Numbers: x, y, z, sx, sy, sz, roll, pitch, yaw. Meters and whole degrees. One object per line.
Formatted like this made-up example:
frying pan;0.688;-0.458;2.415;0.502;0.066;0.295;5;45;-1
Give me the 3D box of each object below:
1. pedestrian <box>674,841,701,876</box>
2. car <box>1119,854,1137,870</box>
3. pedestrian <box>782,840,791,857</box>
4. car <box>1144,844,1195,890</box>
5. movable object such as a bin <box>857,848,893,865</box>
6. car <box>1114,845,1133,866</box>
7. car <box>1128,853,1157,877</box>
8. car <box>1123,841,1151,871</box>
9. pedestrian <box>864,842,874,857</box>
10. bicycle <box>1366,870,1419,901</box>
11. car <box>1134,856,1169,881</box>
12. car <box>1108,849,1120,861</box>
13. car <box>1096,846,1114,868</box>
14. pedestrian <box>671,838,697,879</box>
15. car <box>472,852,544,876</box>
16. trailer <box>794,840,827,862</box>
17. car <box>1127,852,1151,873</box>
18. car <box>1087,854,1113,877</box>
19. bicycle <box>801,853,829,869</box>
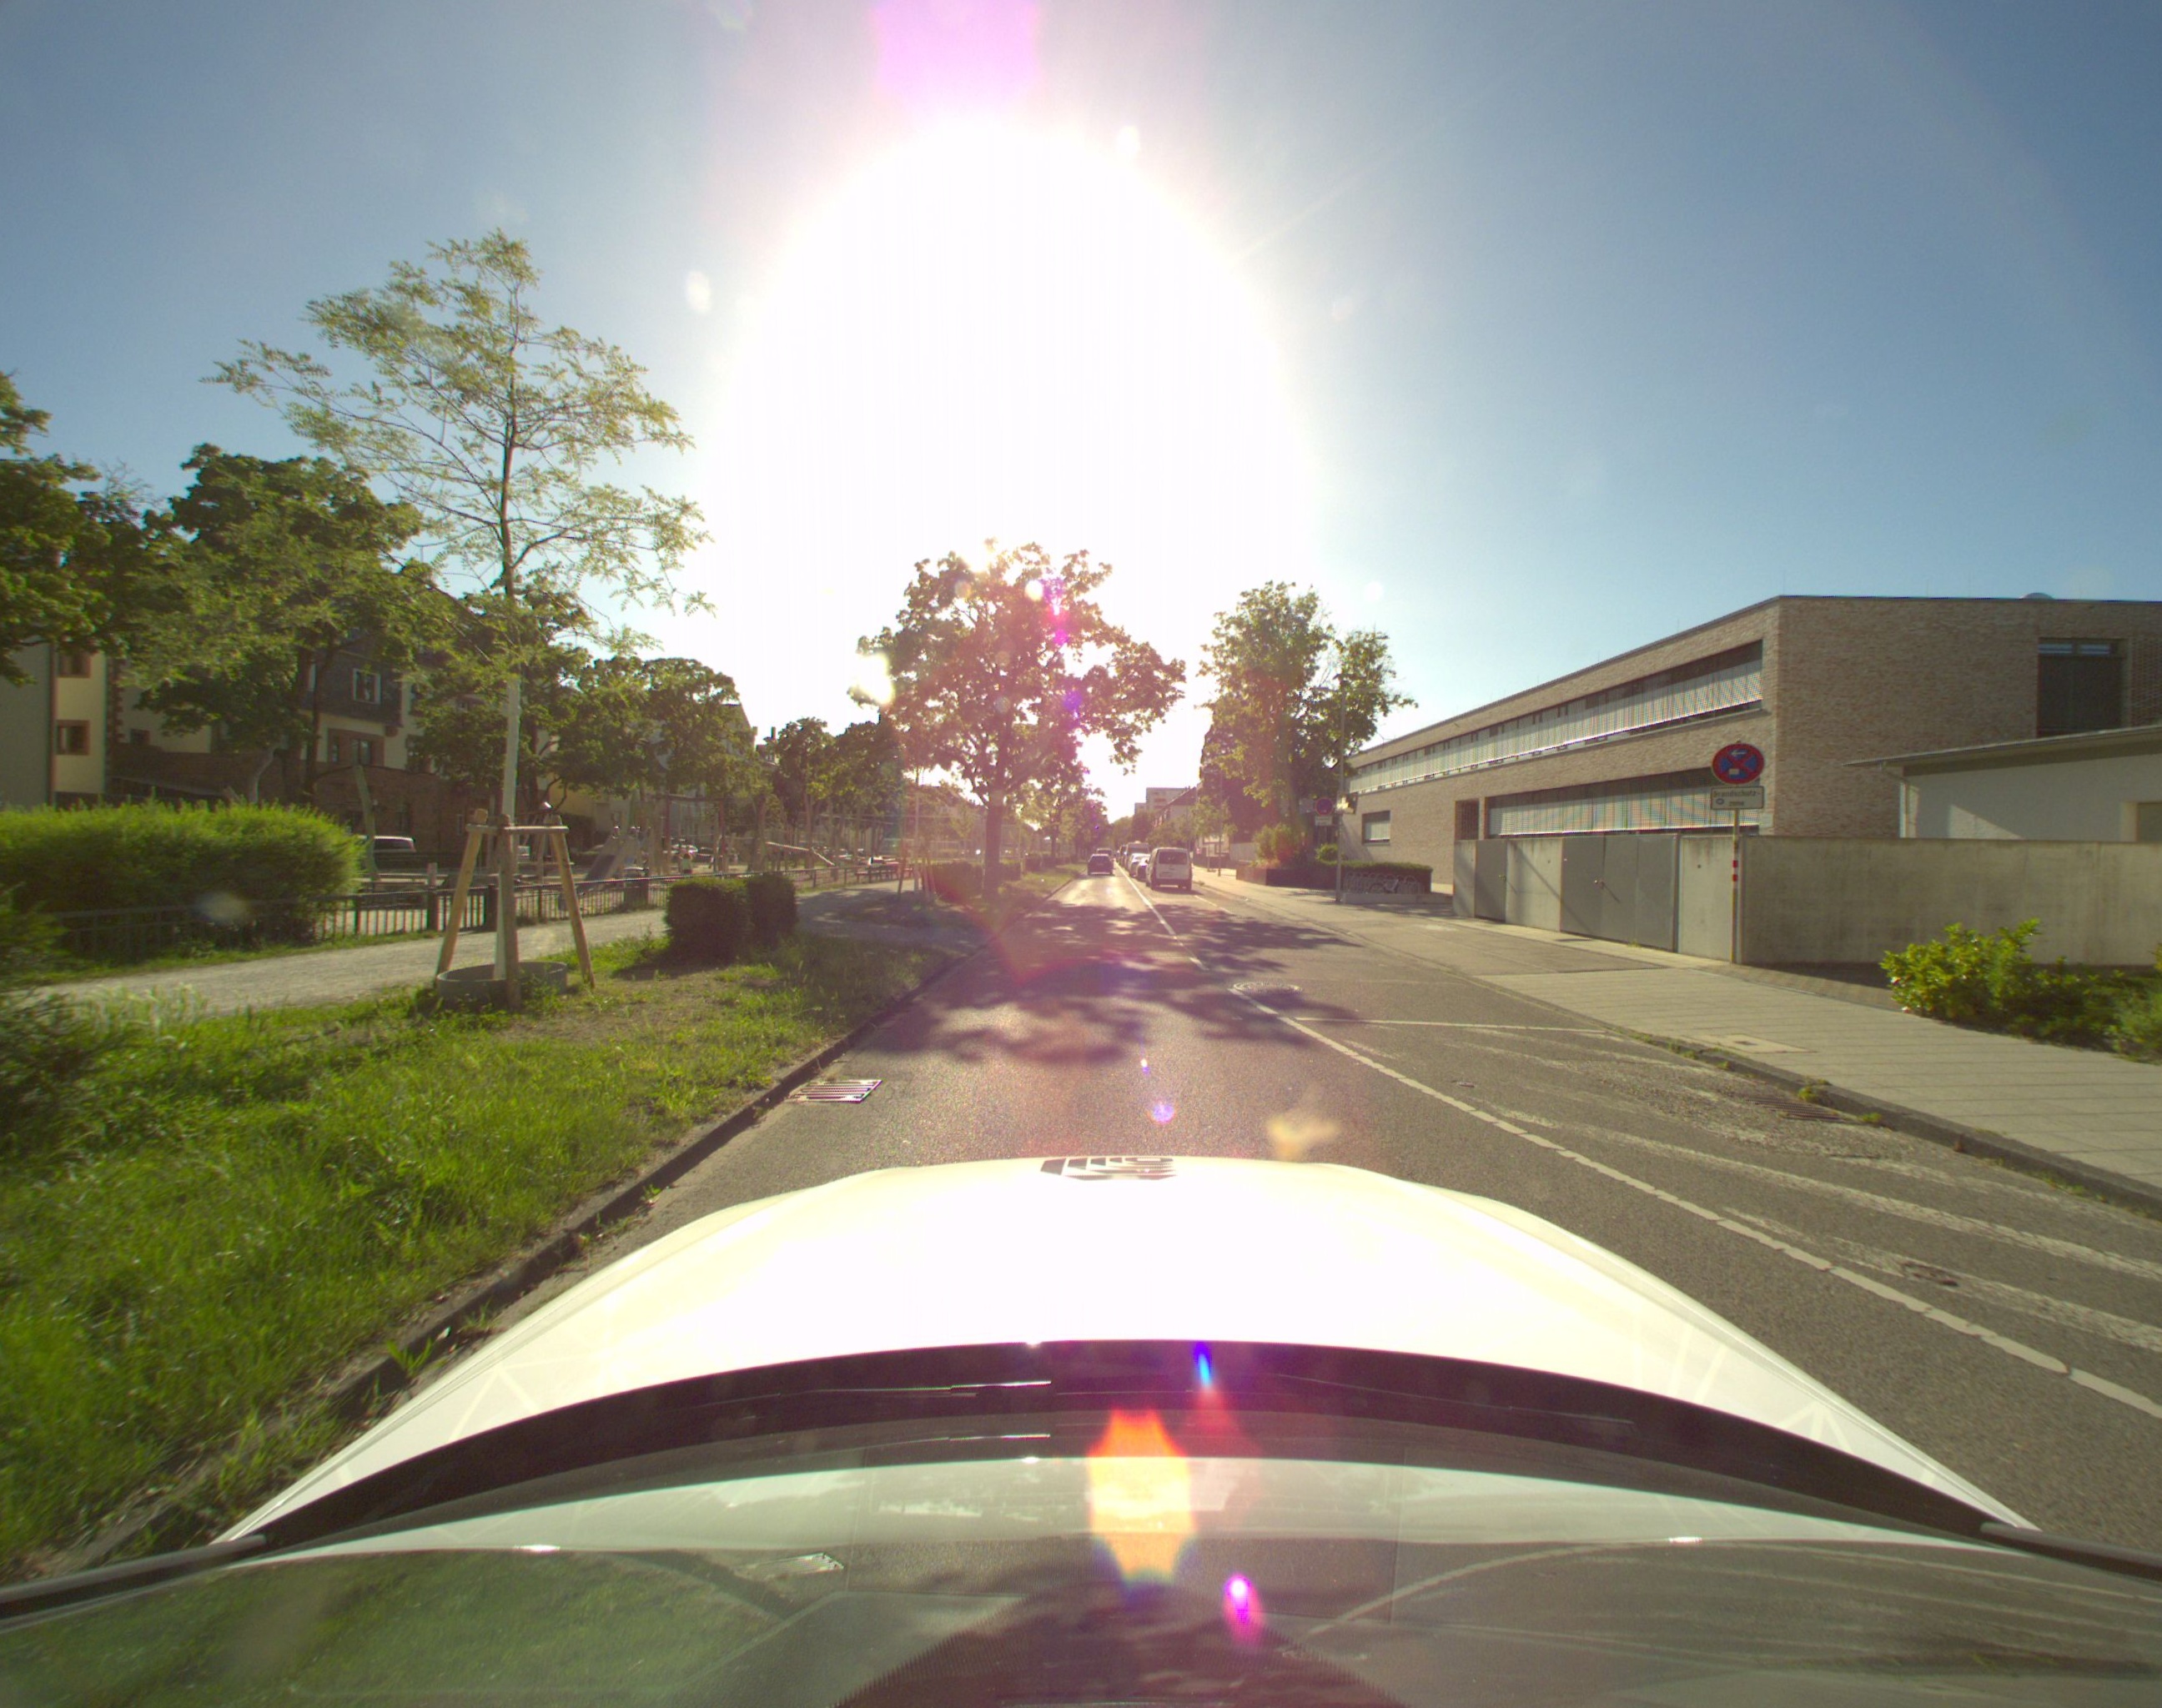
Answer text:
pedestrian;-15.399;0.179;31.845;0.643;1.329;0.653;1;0;20
car;5.193;0.860;90.683;1.839;1.640;4.504;1;0;1
pedestrian;-28.243;-0.545;78.068;0.645;1.661;0.650;0;0;2
car;3.913;0.547;36.595;1.802;1.908;4.461;2;0;0
movable object such as a bin;-15.007;0.205;59.402;2.325;1.242;1.055;0;0;-3
car;5.386;0.205;103.151;2.108;2.515;6.532;1;0;1
car;3.984;0.703;53.071;1.695;1.478;4.175;2;0;2
car;4.989;0.169;73.186;2.232;2.574;5.435;1;0;2
pedestrian;-19.165;-0.402;73.642;0.642;1.318;0.654;1;0;31
bicycle;11.044;1.115;28.934;1.663;1.029;0.500;2;0;-1
car;4.013;0.818;46.770;1.695;1.325;4.131;2;0;1
car;5.578;0.175;136.799;1.786;1.855;4.418;1;0;4
car;2.473;0.320;82.728;1.787;2.122;4.002;1;0;2
pedestrian;-16.149;0.183;33.115;0.643;1.661;0.653;1;0;20
car;-37.863;0.615;53.952;1.787;1.510;4.002;1;0;2
trailer;-36.623;-0.448;110.400;2.335;2.870;5.804;1;0;1
car;4.675;0.692;65.886;1.614;1.588;3.591;1;0;0
car;1.395;0.807;58.269;1.787;1.510;4.002;1;0;2
bicycle;-18.746;0.473;57.408;1.788;1.107;0.500;1;0;-1
